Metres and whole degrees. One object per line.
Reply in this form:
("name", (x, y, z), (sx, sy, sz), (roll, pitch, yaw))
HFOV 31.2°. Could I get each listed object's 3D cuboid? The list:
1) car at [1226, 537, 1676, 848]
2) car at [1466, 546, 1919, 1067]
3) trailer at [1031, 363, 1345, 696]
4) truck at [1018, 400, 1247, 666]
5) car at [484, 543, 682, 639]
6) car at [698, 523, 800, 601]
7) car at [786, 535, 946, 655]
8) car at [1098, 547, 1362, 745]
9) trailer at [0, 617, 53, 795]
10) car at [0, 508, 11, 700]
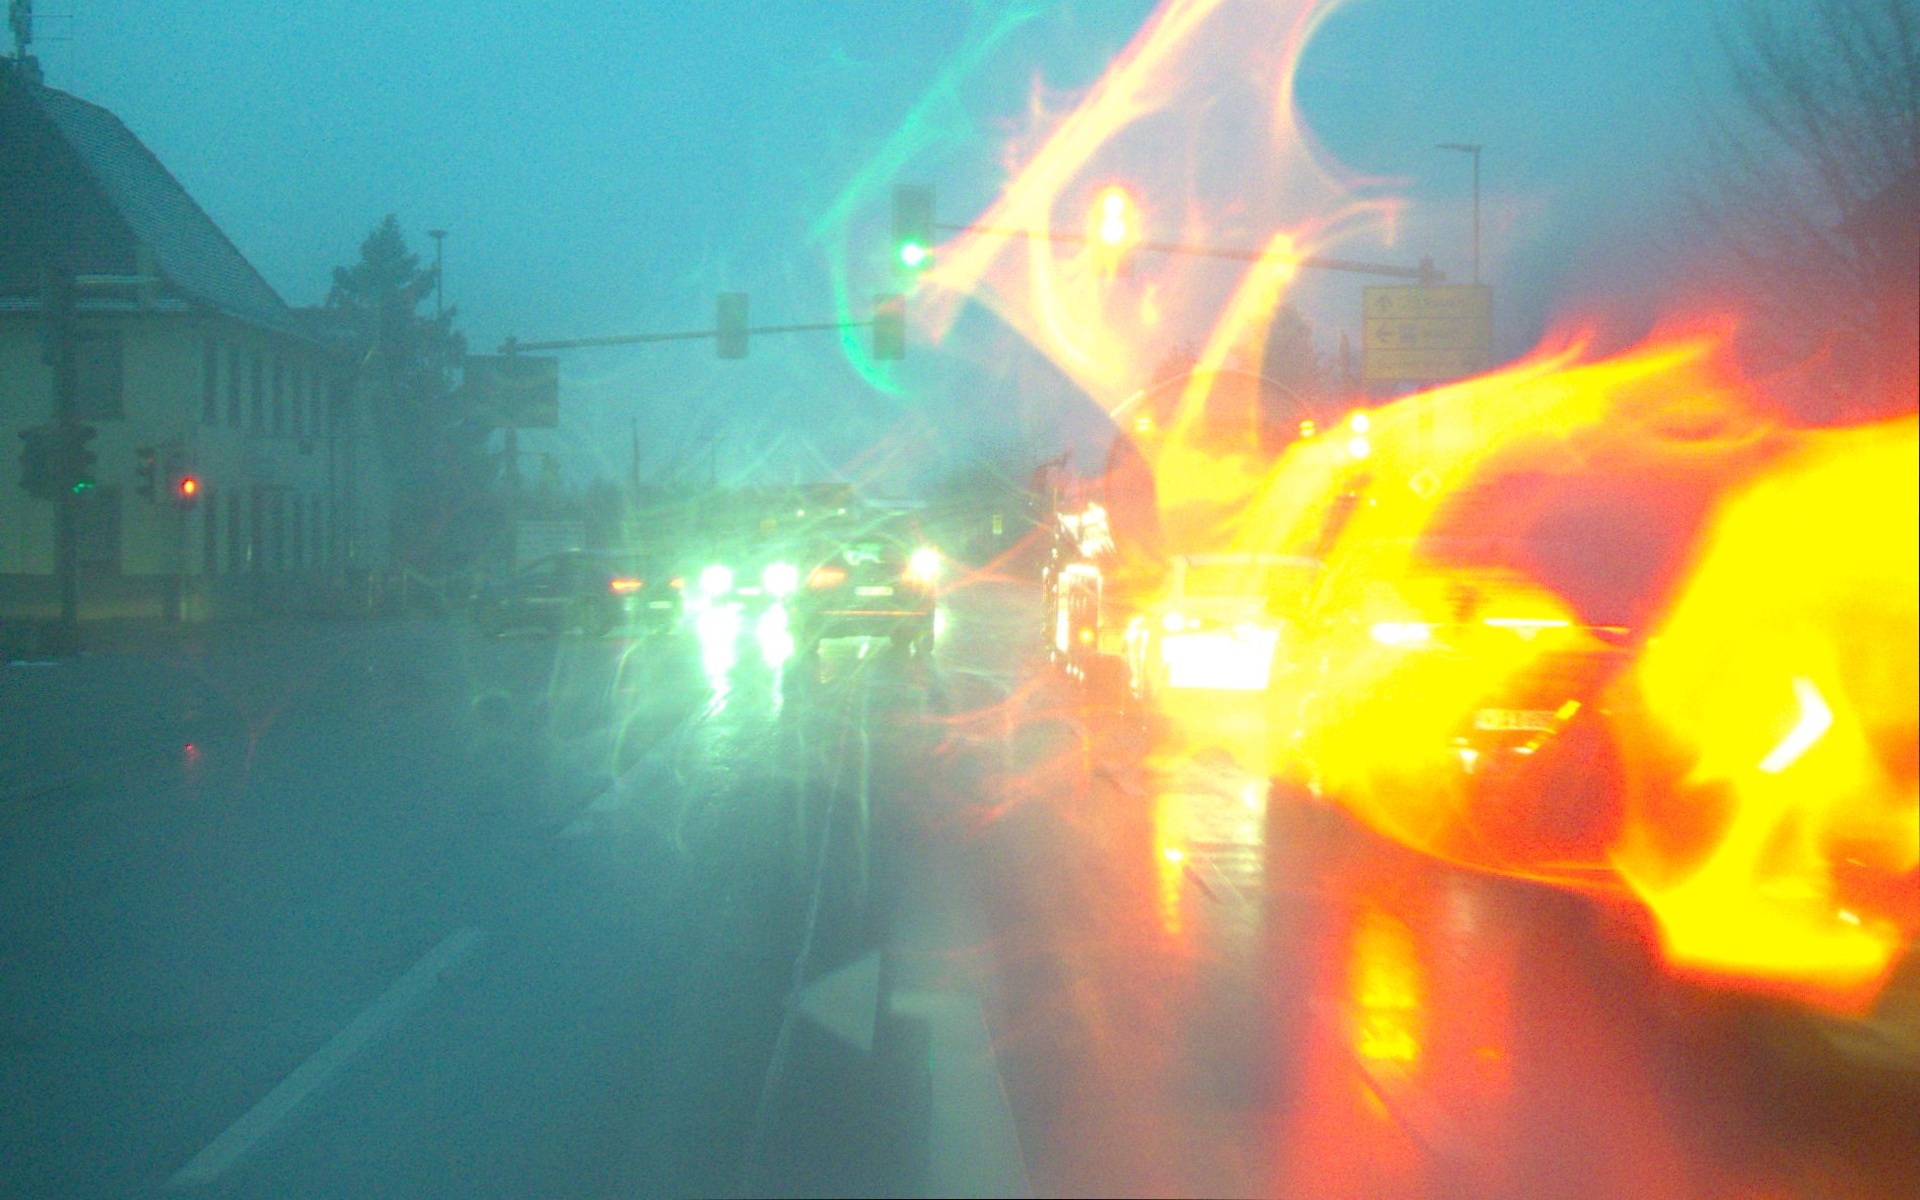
("car", (2.705, 0.438, 19.956), (1.836, 1.563, 4.504), (1, 1, -1))
("car", (2.992, 0.576, 12.076), (1.701, 1.466, 4.272), (1, 1, -1))
("trailer", (2.351, -0.781, 39.182), (2.488, 3.229, 10.870), (1, 1, -2))
("truck", (2.172, -0.874, 45.277), (2.461, 3.218, 6.273), (1, 1, -2))
("car", (-6.308, -0.161, 57.556), (3.215, 1.503, 1.549), (1, 1, -7))
("car", (-4.930, -0.916, 80.826), (1.993, 1.740, 4.000), (-1, 1, 2))
("car", (-1.372, -0.105, 48.222), (2.047, 1.567, 4.704), (-1, 1, -4))
("car", (2.095, 0.310, 27.749), (1.662, 1.434, 4.382), (1, 1, -1))
("trailer", (-6.760, 0.715, 18.941), (1.993, 1.035, 6.104), (-1, 1, -1))
("car", (-11.559, 0.037, 31.461), (5.189, 1.785, 2.000), (0, 1, 1))
